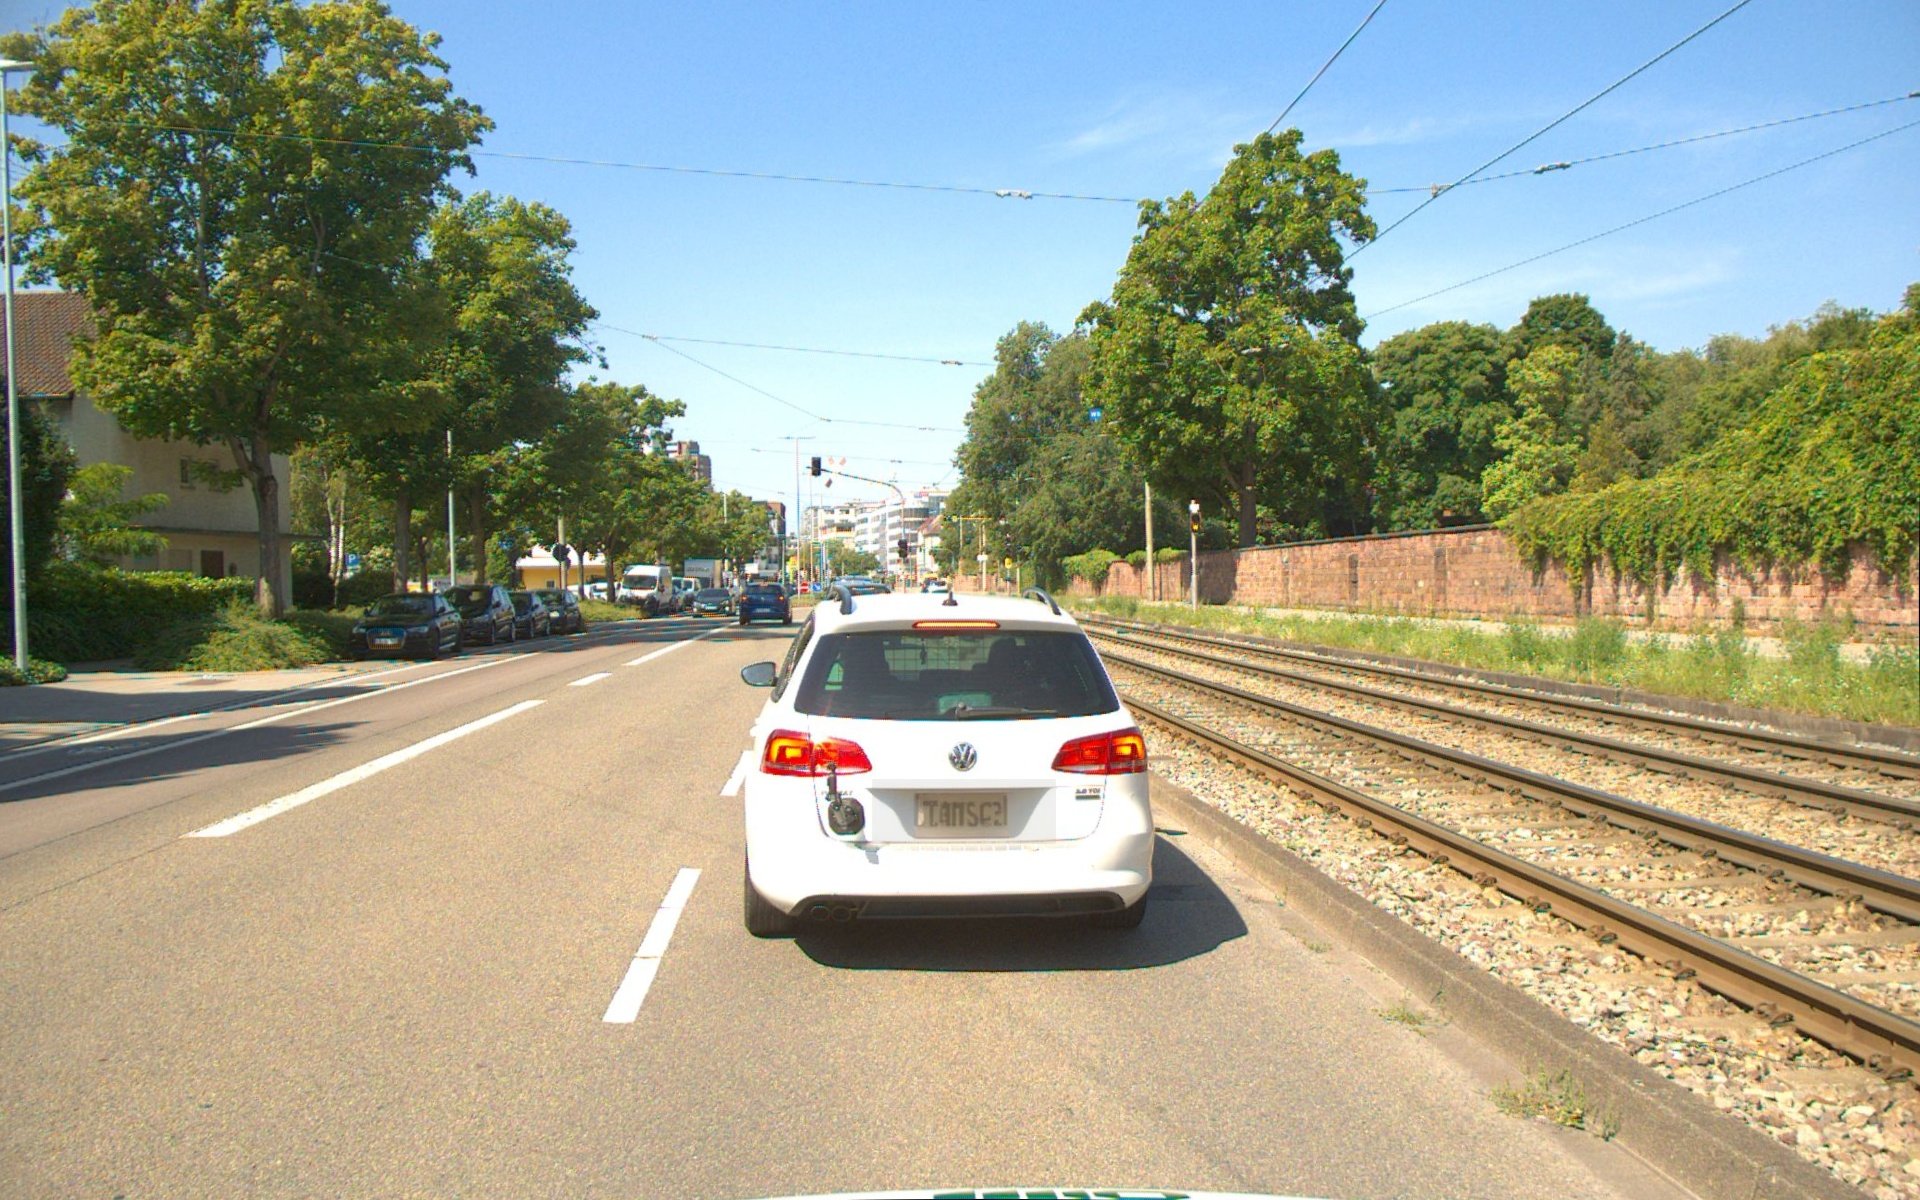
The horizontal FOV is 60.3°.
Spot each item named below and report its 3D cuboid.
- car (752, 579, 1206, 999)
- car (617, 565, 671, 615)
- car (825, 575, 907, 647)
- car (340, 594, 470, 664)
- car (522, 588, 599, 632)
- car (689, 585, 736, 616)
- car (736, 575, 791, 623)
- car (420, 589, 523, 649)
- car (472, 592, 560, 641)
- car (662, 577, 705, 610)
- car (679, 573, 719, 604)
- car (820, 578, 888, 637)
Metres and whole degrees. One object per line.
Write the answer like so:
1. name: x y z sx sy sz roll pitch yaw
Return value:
1. car: -0.128 0.657 8.304 1.658 1.476 4.453 -1 1 -6
2. car: -16.244 -0.556 85.218 1.842 2.457 5.115 -1 1 -1
3. car: -2.208 0.217 38.030 1.765 1.533 3.996 0 1 -5
4. car: -12.758 0.624 38.244 1.665 1.441 3.999 -1 1 -1
5. car: -13.587 0.303 56.419 1.665 1.375 3.999 -1 1 -1
6. car: -11.118 0.022 74.521 1.665 1.295 3.998 -1 1 -2
7. car: -6.861 -0.070 58.098 1.765 1.533 3.997 0 2 -5
8. car: -13.440 0.490 45.695 1.665 1.507 3.999 -1 1 -1
9. car: -13.659 0.476 51.101 1.665 1.375 3.999 -1 1 -1
10. car: -16.393 -0.403 98.100 1.789 1.899 4.724 -1 1 -1
11. car: -16.670 -0.741 105.757 1.789 1.899 4.724 -1 1 -1
12. car: -2.940 0.167 45.232 1.765 1.485 3.996 0 1 -5
